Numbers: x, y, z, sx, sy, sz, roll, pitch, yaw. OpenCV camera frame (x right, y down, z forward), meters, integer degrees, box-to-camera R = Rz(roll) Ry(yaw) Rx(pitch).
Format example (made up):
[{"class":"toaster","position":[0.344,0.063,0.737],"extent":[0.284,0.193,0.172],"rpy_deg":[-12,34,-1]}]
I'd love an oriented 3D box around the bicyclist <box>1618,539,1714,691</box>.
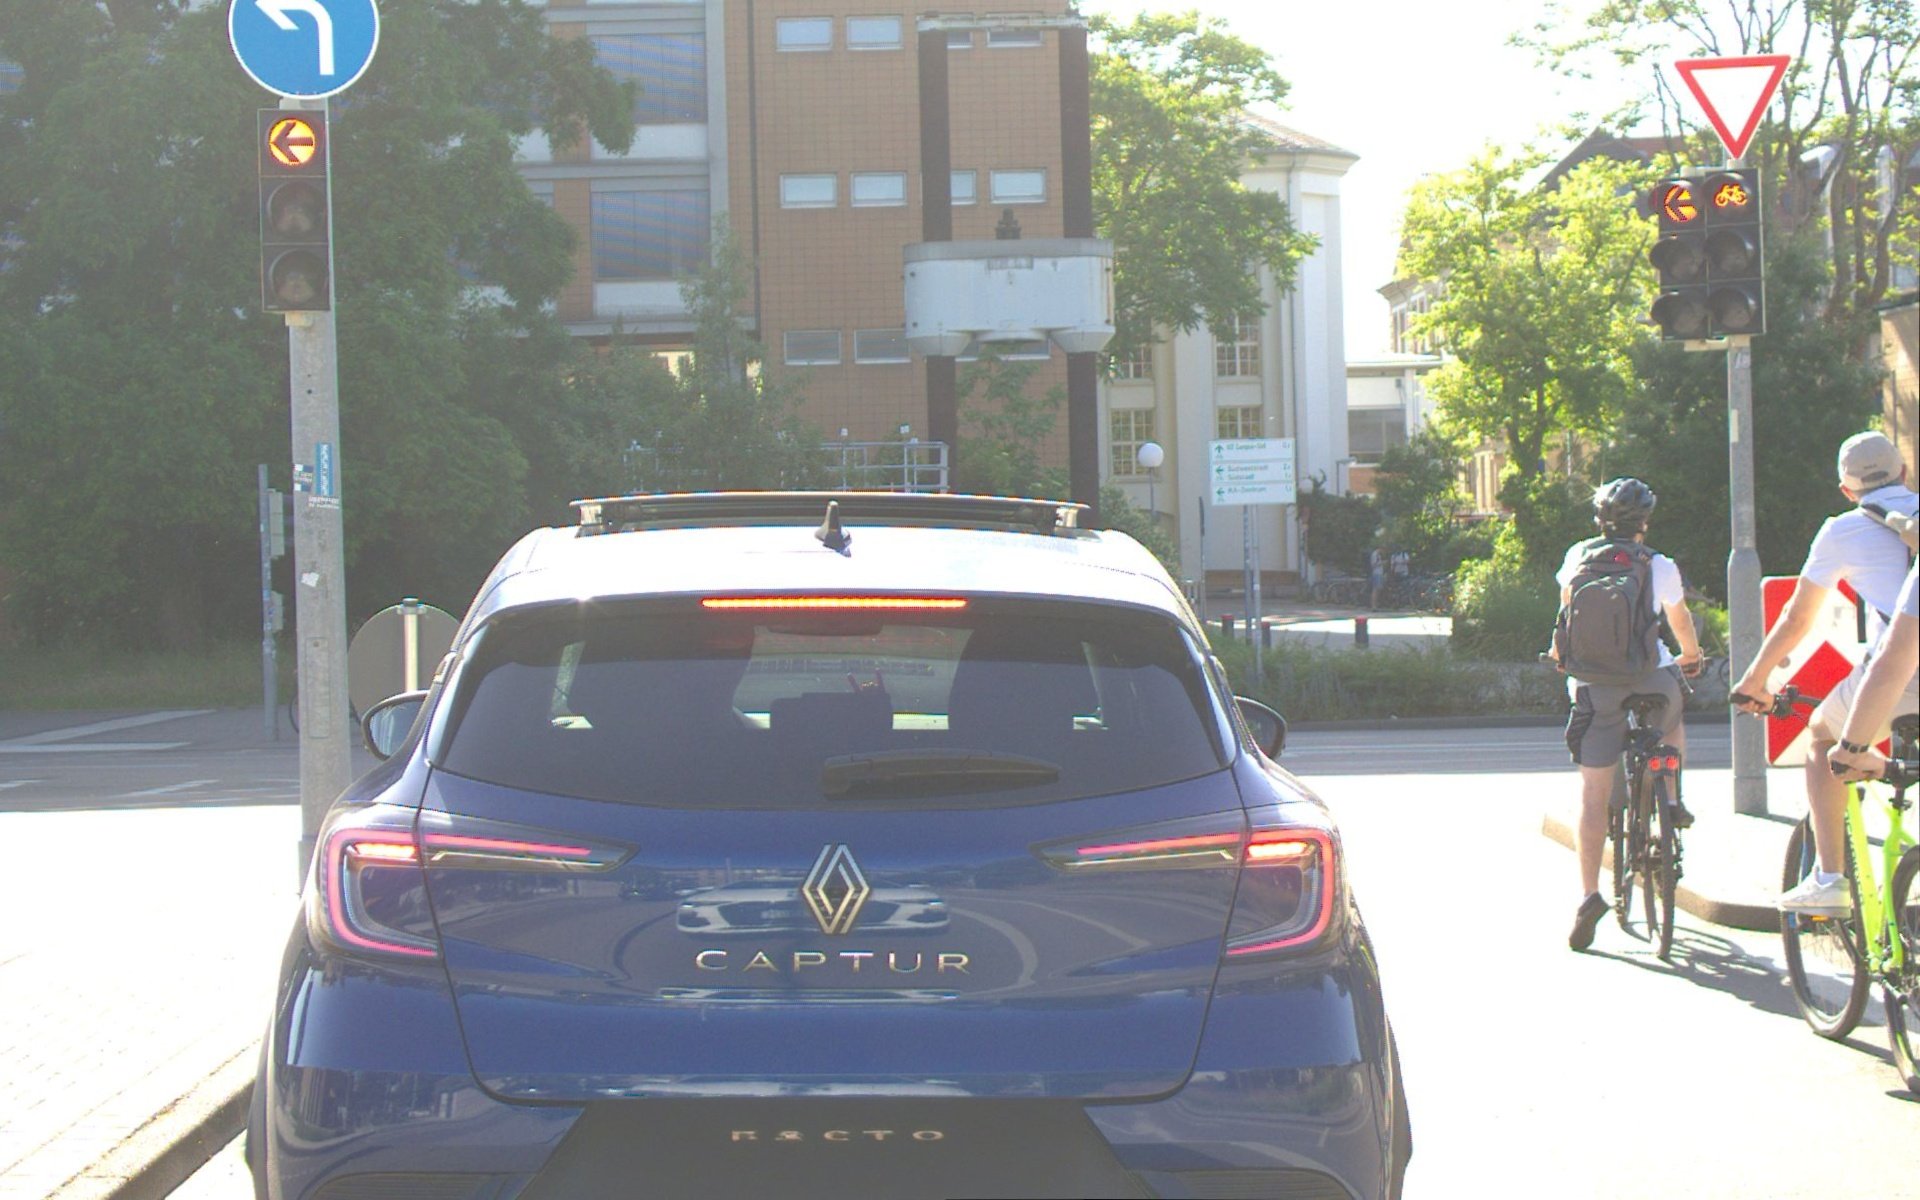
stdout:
[{"class":"bicyclist","position":[8.884,0.186,43.281],"extent":[1.102,1.861,0.652],"rpy_deg":[-2,0,10]}]

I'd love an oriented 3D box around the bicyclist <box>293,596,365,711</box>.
[{"class":"bicyclist","position":[-8.034,0.676,43.788],"extent":[0.737,1.436,0.598],"rpy_deg":[-2,1,-27]}]

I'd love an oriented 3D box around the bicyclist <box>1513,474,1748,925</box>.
[{"class":"bicyclist","position":[2.508,0.356,12.947],"extent":[0.726,1.623,0.969],"rpy_deg":[1,0,4]}]

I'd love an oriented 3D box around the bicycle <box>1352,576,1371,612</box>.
[{"class":"bicycle","position":[10.989,-0.177,94.082],"extent":[0.405,0.969,1.683],"rpy_deg":[1,1,4]}]

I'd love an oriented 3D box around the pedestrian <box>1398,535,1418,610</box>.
[{"class":"pedestrian","position":[12.035,-0.749,92.396],"extent":[0.475,2.007,0.468],"rpy_deg":[-1,1,6]}]

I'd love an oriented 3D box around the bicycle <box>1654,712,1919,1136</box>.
[{"class":"bicycle","position":[2.612,0.866,9.823],"extent":[0.659,0.999,1.970],"rpy_deg":[1,1,-6]}]

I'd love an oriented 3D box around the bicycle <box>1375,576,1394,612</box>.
[{"class":"bicycle","position":[11.611,-0.168,94.039],"extent":[0.405,0.969,1.683],"rpy_deg":[1,1,4]}]

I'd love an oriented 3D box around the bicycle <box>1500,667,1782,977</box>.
[{"class":"bicycle","position":[2.511,0.782,12.903],"extent":[0.739,0.992,2.173],"rpy_deg":[1,1,3]}]

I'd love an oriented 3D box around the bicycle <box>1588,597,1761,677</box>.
[{"class":"bicycle","position":[8.988,0.464,43.305],"extent":[2.082,0.927,0.696],"rpy_deg":[-2,2,10]}]

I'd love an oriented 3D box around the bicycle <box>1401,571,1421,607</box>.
[{"class":"bicycle","position":[12.379,-0.304,94.405],"extent":[0.405,0.969,1.683],"rpy_deg":[1,1,4]}]

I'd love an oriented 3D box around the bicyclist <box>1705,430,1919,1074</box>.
[{"class":"bicyclist","position":[2.623,0.408,9.812],"extent":[0.645,1.733,1.067],"rpy_deg":[1,0,-6]}]

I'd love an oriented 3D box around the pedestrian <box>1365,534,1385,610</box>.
[{"class":"pedestrian","position":[10.979,-0.750,91.045],"extent":[0.475,2.007,0.523],"rpy_deg":[-1,1,6]}]

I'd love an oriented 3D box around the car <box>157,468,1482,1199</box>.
[{"class":"car","position":[-0.268,0.615,6.698],"extent":[1.803,1.626,4.000],"rpy_deg":[0,1,-2]}]

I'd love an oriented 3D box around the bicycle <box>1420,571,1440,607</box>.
[{"class":"bicycle","position":[12.914,-0.297,94.418],"extent":[0.405,0.969,1.683],"rpy_deg":[1,1,4]}]

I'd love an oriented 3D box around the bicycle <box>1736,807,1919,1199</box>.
[{"class":"bicycle","position":[2.228,0.958,7.258],"extent":[0.740,0.893,1.978],"rpy_deg":[1,1,1]}]

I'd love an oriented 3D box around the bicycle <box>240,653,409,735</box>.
[{"class":"bicycle","position":[-8.082,1.189,43.771],"extent":[2.005,0.961,0.598],"rpy_deg":[-2,1,-27]}]

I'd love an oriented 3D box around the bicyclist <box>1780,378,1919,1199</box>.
[{"class":"bicyclist","position":[2.232,0.396,7.247],"extent":[0.751,1.663,1.016],"rpy_deg":[1,0,1]}]
